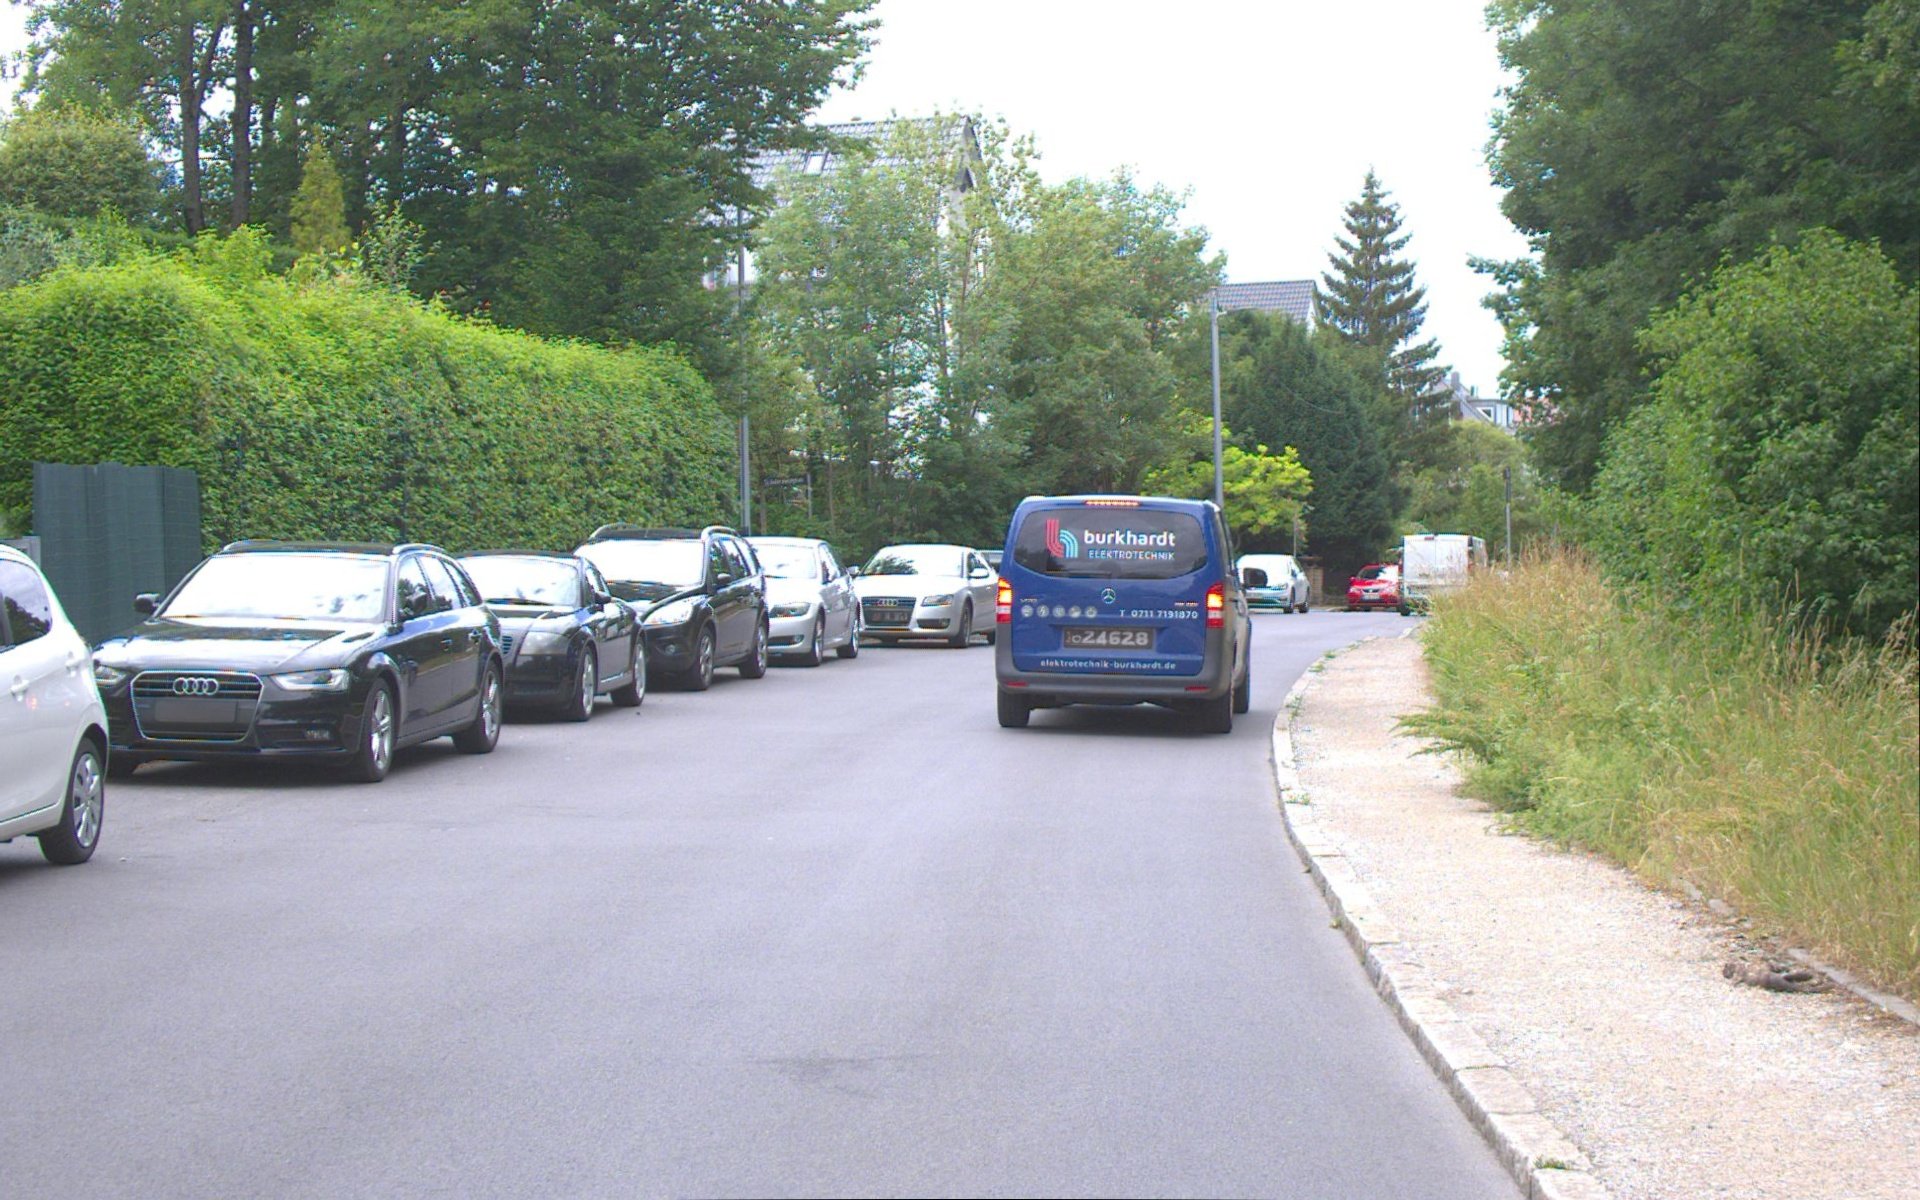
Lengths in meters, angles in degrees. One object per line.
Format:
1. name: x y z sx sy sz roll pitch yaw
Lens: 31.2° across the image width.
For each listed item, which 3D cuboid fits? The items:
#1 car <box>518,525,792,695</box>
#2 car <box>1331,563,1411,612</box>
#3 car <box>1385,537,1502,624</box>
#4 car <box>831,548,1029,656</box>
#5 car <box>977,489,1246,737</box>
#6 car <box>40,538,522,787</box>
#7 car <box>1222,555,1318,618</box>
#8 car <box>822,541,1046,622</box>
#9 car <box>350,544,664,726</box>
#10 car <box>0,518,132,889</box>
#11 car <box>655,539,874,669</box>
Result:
1. car: -2.922 0.056 33.853 1.657 1.528 4.473 1 1 8
2. car: 12.440 -0.375 103.839 1.637 1.400 3.996 1 0 18
3. car: 11.906 -0.487 84.310 2.207 2.056 6.131 0 1 14
4. car: -0.352 -0.009 47.060 1.832 1.369 4.443 1 1 11
5. car: 1.339 0.061 28.574 1.937 1.873 4.529 1 1 6
6. car: -4.126 0.311 21.682 1.718 1.380 4.662 1 1 5
7. car: 7.629 -0.329 84.335 1.706 1.463 4.073 1 0 14
8. car: -0.498 -0.348 65.310 4.166 1.442 1.740 1 0 -1
9. car: -3.613 0.231 28.107 1.711 1.336 4.107 1 1 4
10. car: -4.687 0.411 14.067 1.588 1.509 3.590 1 1 2
11. car: -2.162 0.007 39.202 1.775 1.369 4.340 1 1 6
